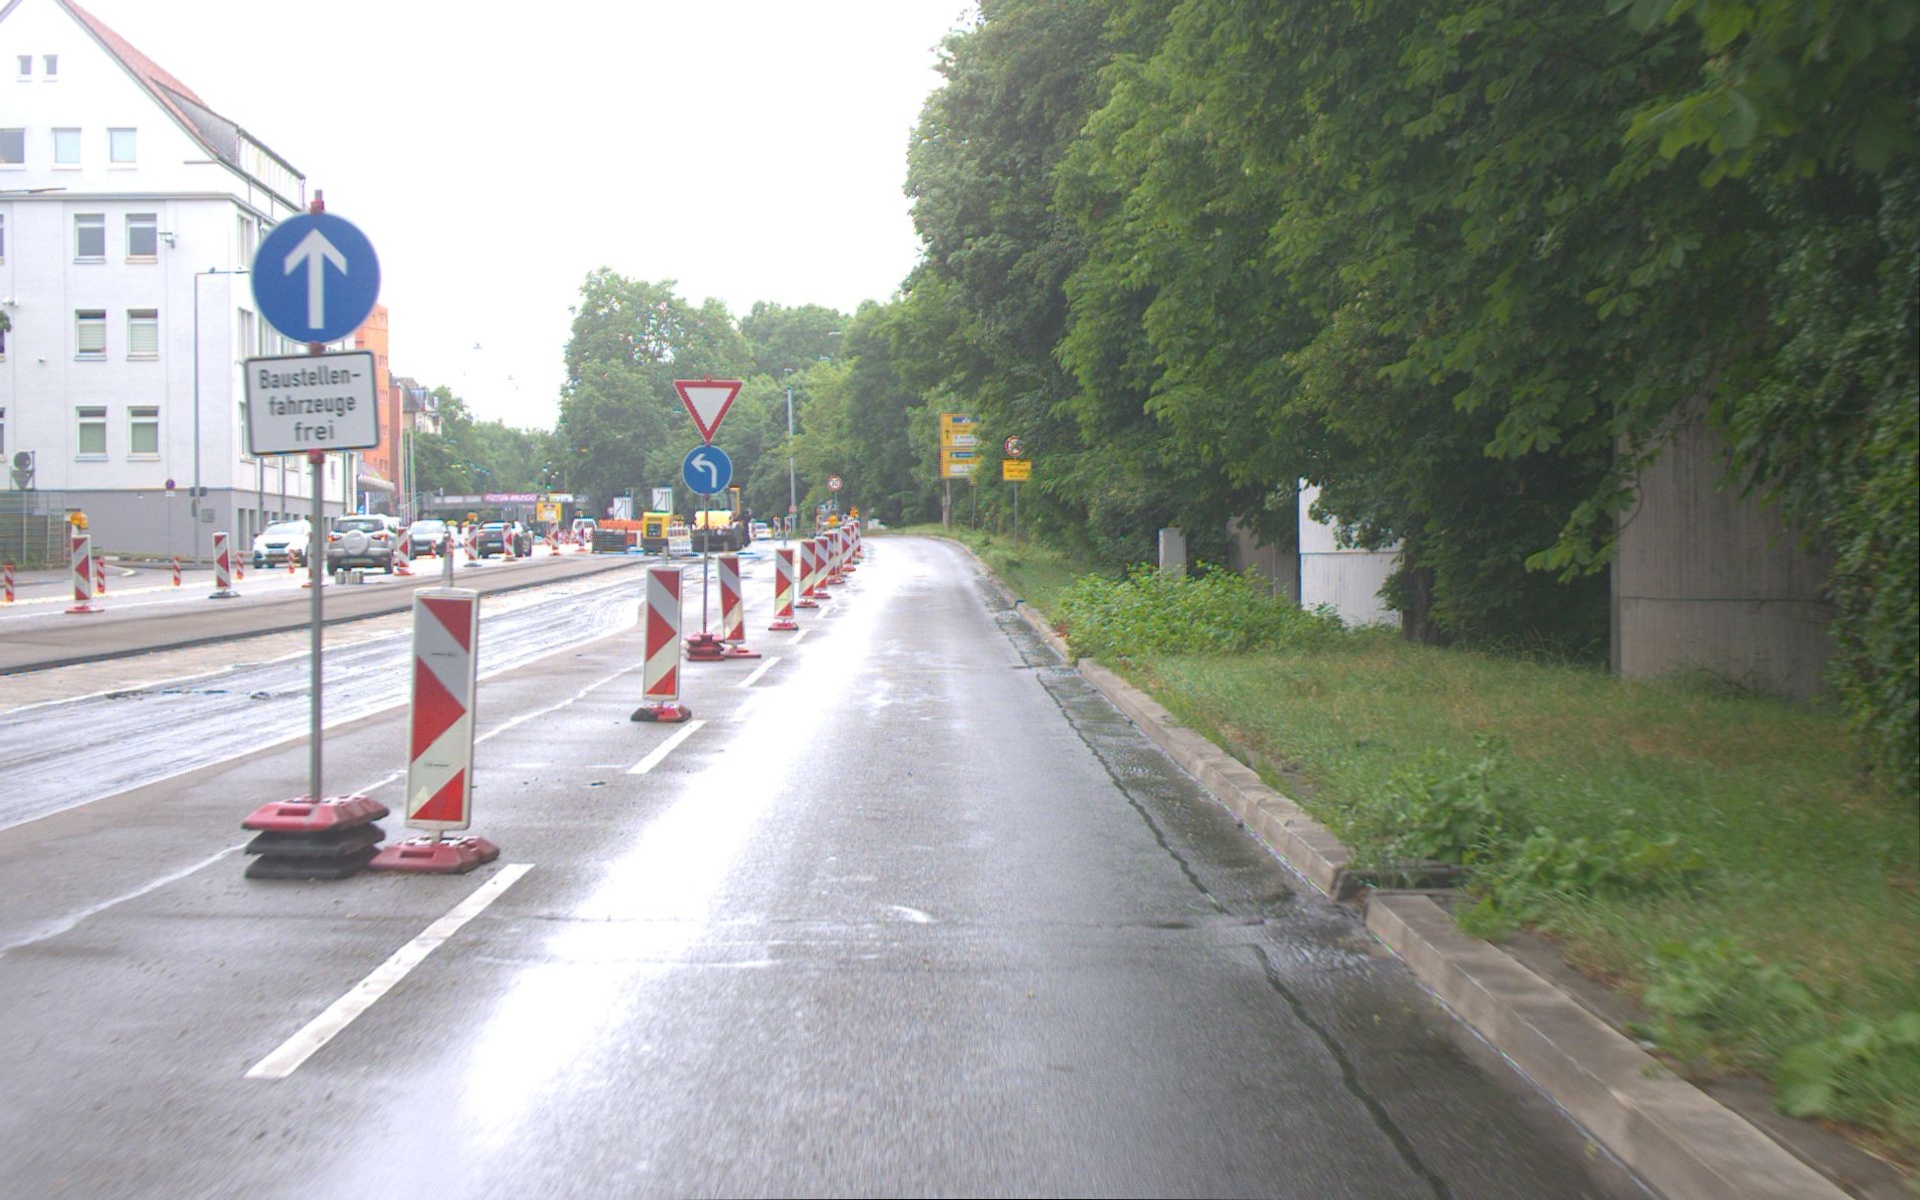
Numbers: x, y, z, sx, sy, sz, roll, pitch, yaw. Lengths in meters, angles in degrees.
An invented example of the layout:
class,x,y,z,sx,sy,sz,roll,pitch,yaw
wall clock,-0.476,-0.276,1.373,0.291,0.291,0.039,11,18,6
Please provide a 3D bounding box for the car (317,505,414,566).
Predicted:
class,x,y,z,sx,sy,sz,roll,pitch,yaw
car,-16.252,-1.778,94.221,1.893,1.644,4.396,0,1,0

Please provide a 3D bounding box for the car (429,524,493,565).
class,x,y,z,sx,sy,sz,roll,pitch,yaw
car,-19.053,-2.129,131.414,1.859,1.470,3.732,-2,1,0

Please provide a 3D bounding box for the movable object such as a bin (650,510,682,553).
class,x,y,z,sx,sy,sz,roll,pitch,yaw
movable object such as a bin,-11.318,-2.653,132.476,1.083,1.639,2.439,0,1,-2

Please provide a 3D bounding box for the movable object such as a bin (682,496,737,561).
class,x,y,z,sx,sy,sz,roll,pitch,yaw
movable object such as a bin,-10.219,-2.960,140.715,1.902,2.600,5.383,-1,2,-1

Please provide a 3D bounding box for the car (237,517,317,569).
class,x,y,z,sx,sy,sz,roll,pitch,yaw
car,-23.496,-1.972,118.396,1.859,1.700,4.365,-2,1,0
